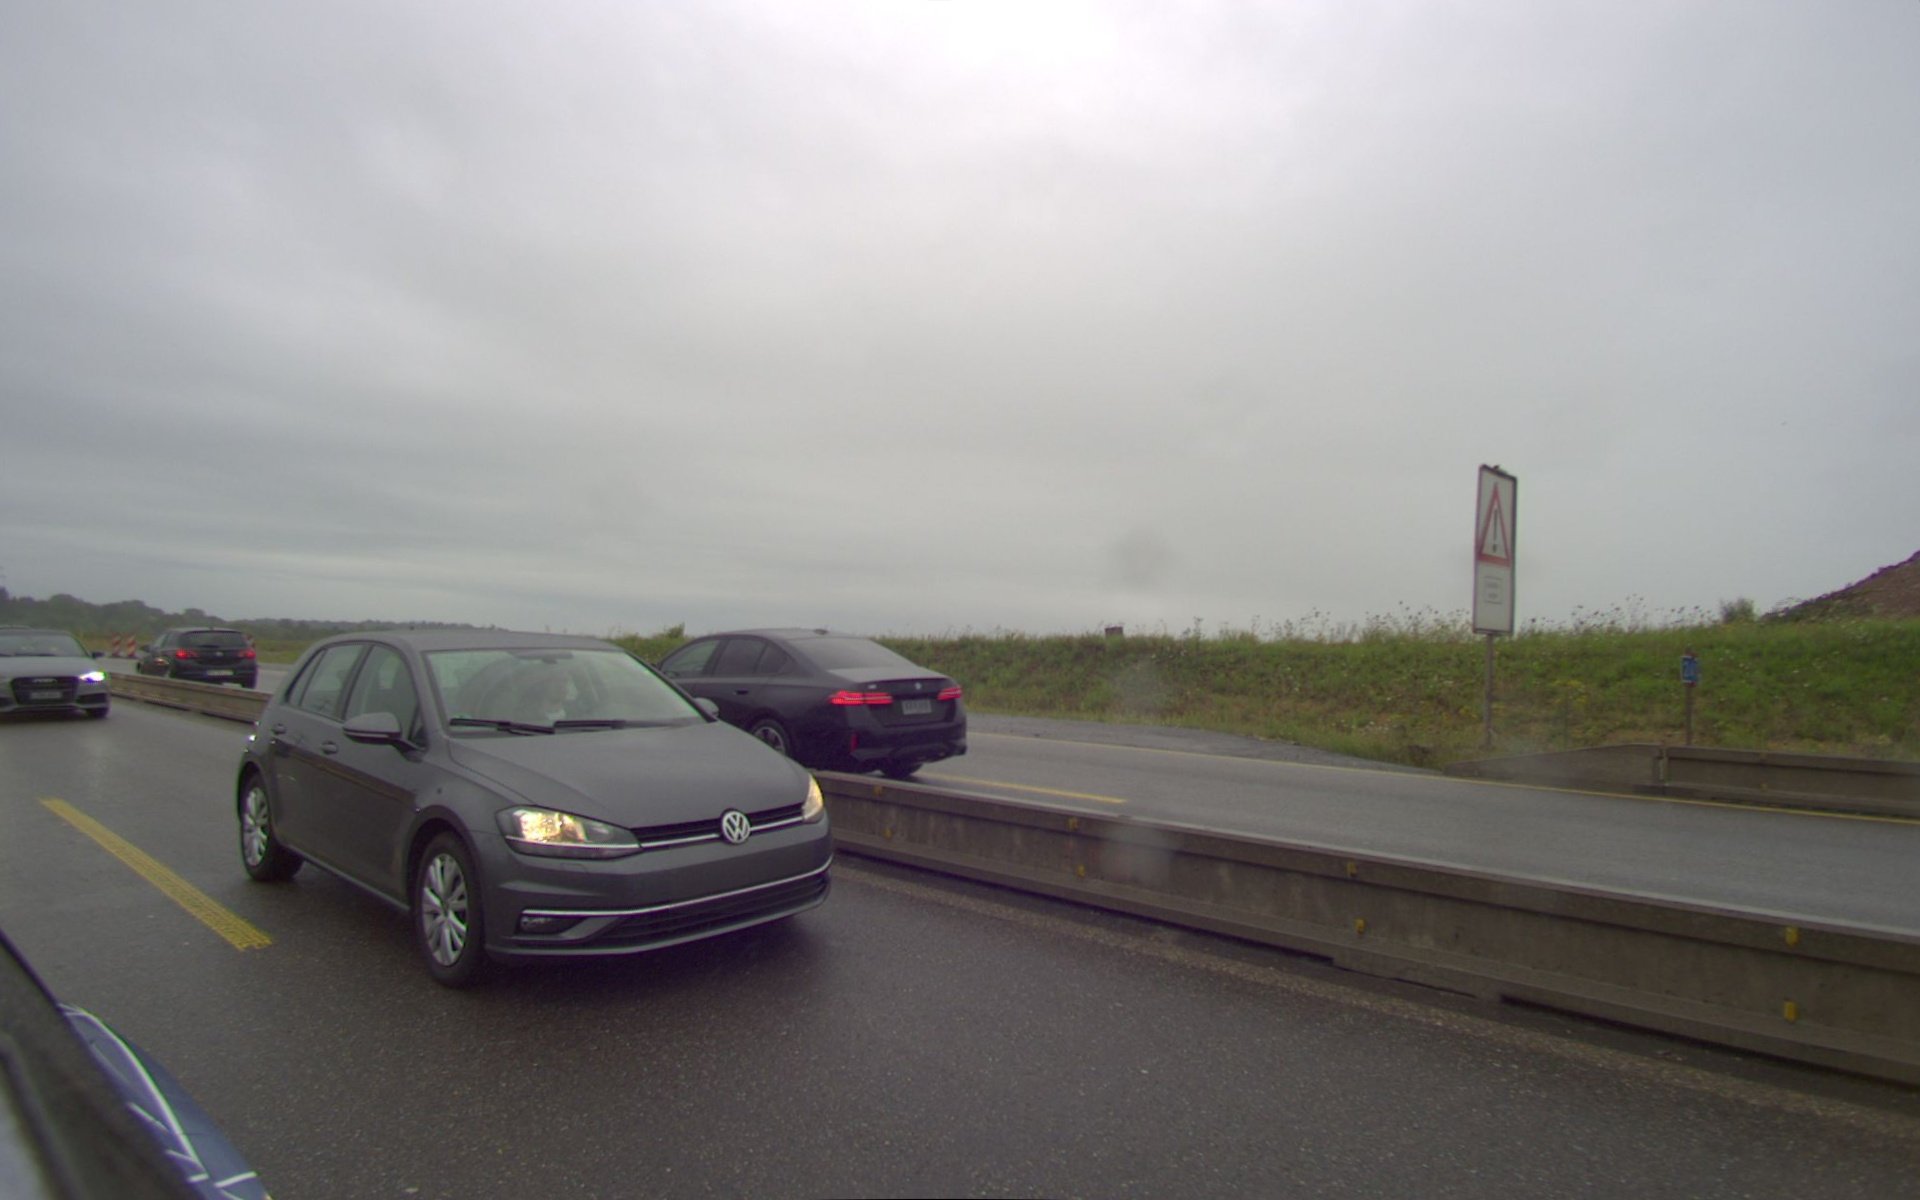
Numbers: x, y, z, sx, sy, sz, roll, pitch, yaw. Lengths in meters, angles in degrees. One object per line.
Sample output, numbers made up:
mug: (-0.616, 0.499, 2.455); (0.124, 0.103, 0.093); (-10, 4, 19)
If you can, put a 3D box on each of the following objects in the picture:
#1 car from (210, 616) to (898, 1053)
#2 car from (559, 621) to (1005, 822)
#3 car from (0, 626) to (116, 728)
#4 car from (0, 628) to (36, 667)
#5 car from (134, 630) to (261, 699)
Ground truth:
car: (-2.369, 0.821, 5.342); (4.077, 1.433, 1.633); (0, -1, 40)
car: (-2.035, 1.030, 10.445); (4.892, 1.597, 1.898); (-1, -2, 41)
car: (-15.341, 1.168, 16.454); (4.266, 1.407, 1.777); (0, -1, 40)
car: (-38.362, 1.853, 40.402); (4.458, 1.454, 1.593); (-1, -1, 40)
car: (-17.921, 1.444, 23.735); (3.729, 1.477, 1.648); (-2, -2, 41)
